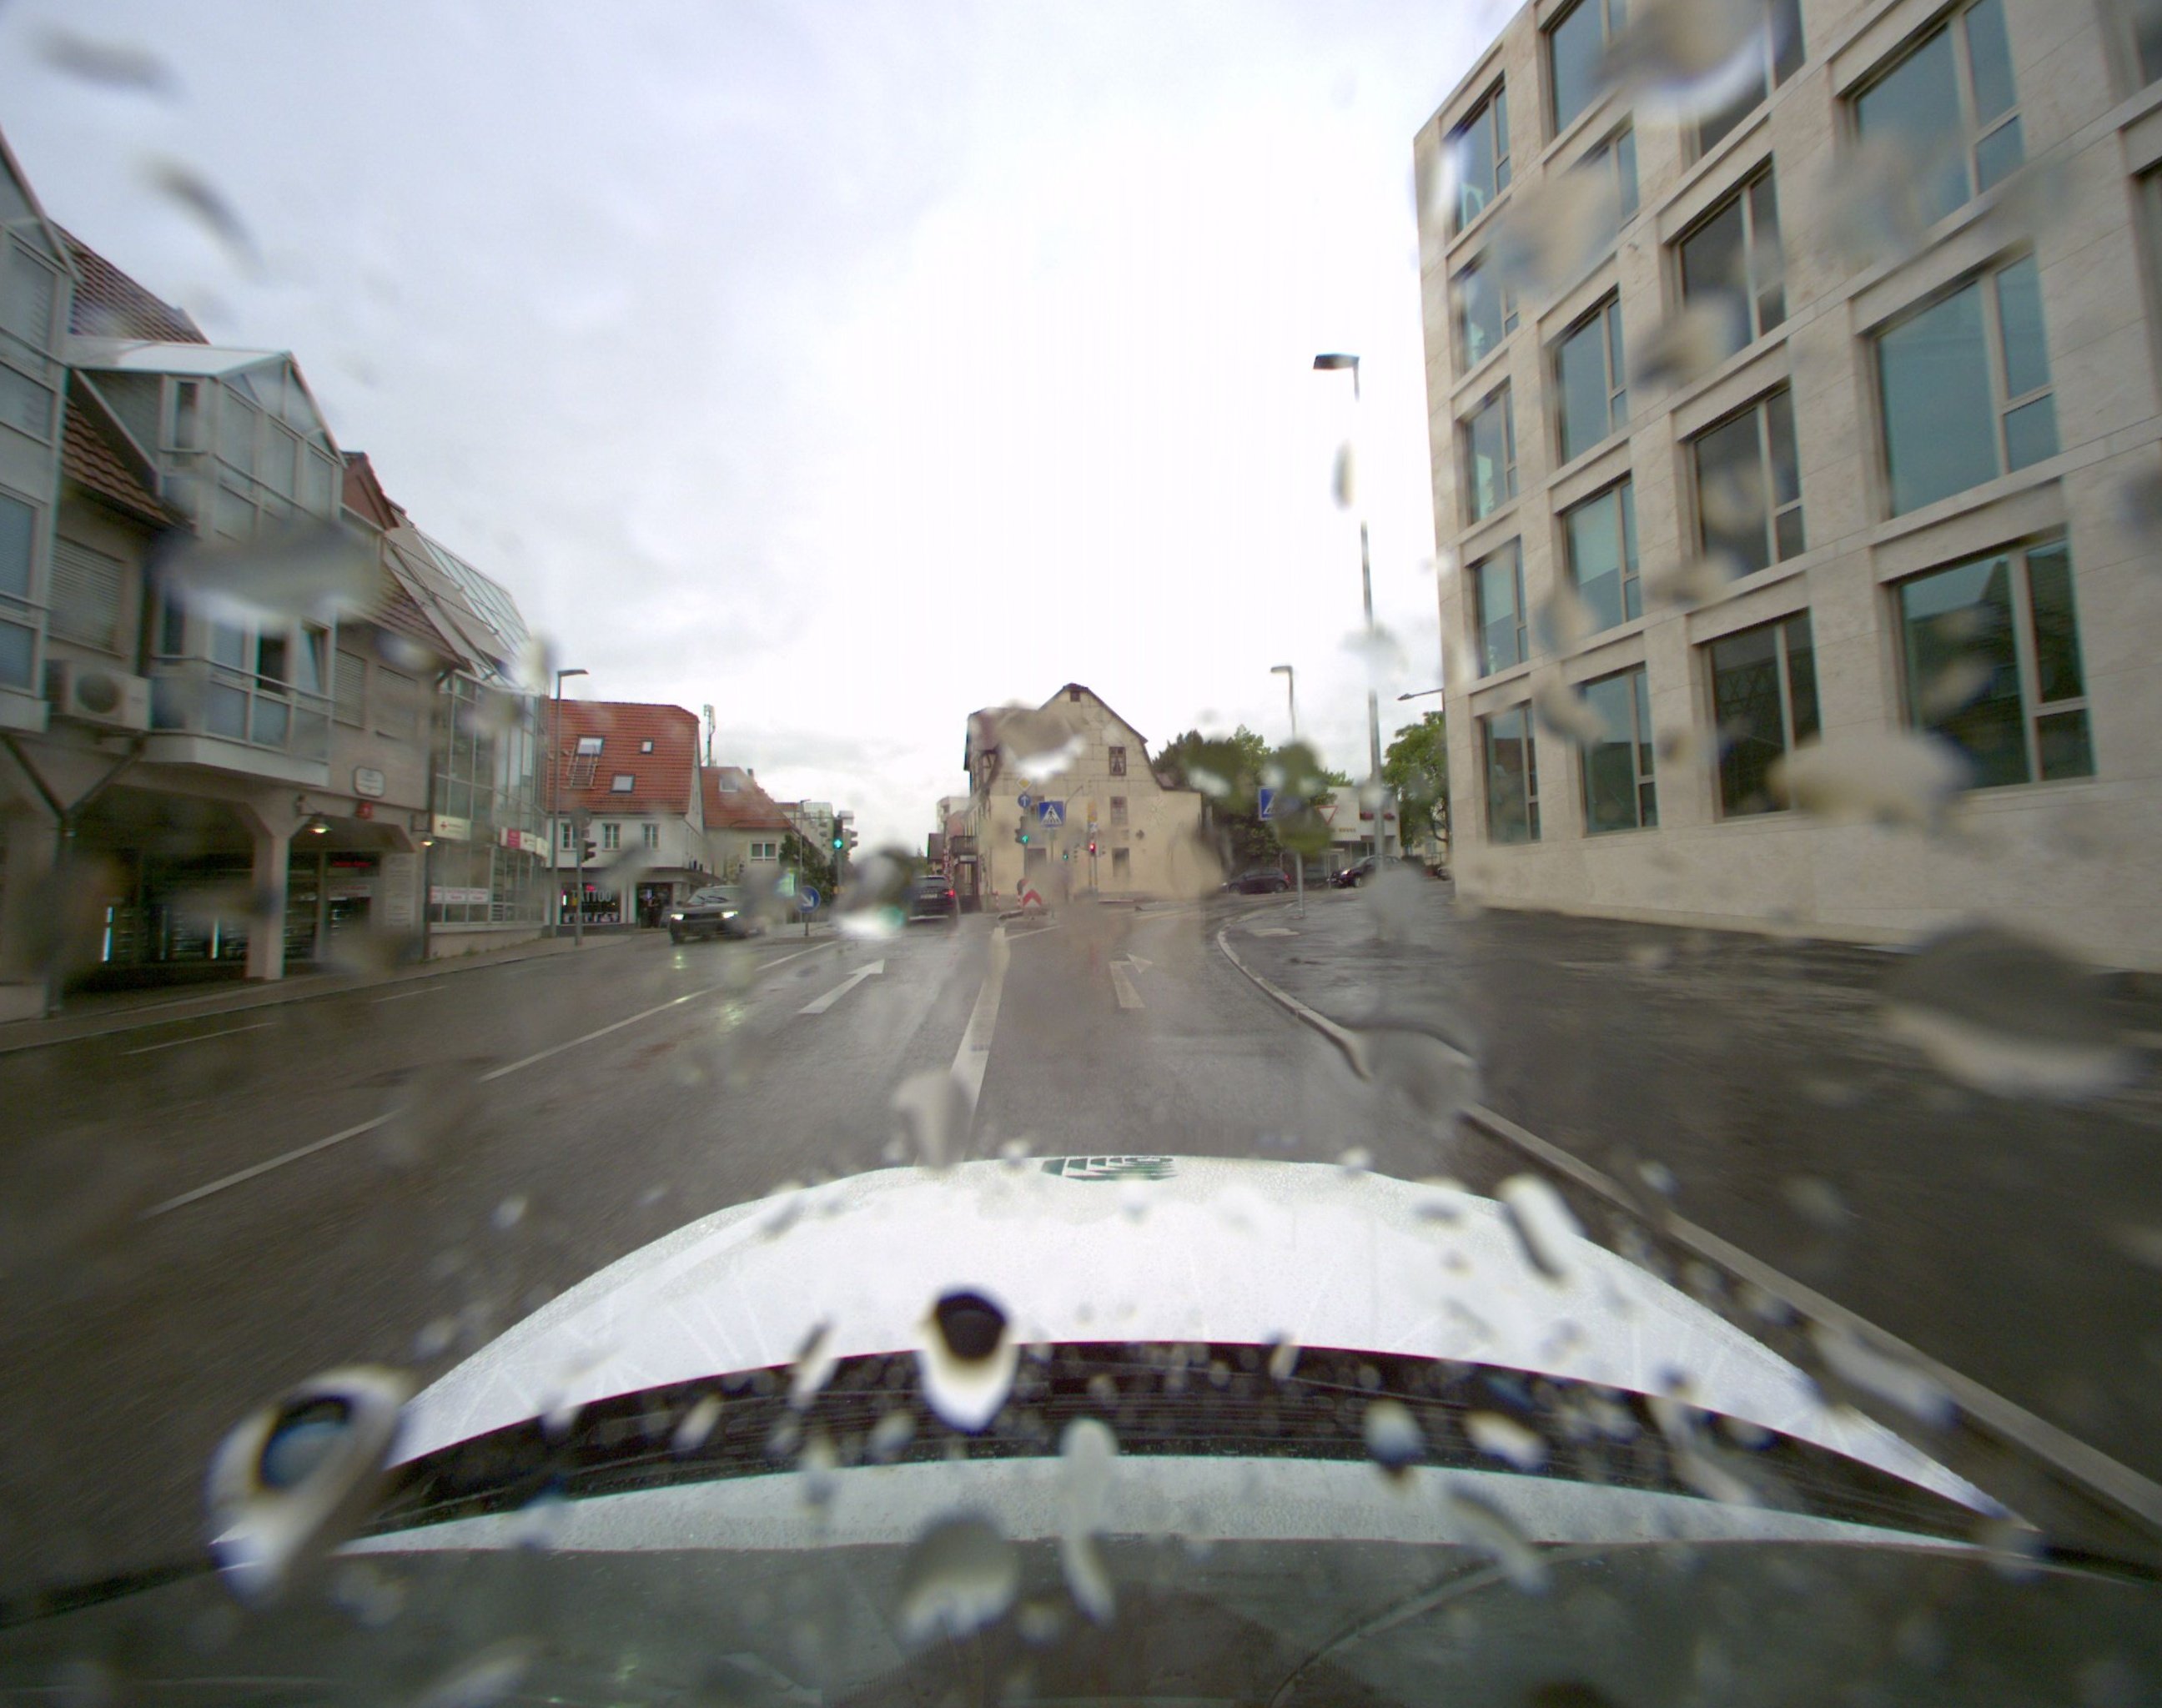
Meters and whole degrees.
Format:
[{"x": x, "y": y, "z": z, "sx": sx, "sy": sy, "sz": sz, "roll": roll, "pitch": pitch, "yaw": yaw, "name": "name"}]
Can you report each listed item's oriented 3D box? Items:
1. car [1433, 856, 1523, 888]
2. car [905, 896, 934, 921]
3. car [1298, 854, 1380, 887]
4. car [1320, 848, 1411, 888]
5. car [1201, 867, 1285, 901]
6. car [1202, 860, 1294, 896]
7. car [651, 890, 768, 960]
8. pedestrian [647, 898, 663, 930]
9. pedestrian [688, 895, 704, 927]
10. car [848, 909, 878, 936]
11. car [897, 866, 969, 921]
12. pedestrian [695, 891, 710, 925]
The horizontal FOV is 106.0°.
[{"x": 22.714, "y": 1.035, "z": 46.628, "sx": 4.535, "sy": 1.452, "sz": 1.768, "roll": -3, "pitch": -5, "yaw": -16, "name": "car"}, {"x": -11.792, "y": 3.955, "z": 59.618, "sx": 1.886, "sy": 1.467, "sz": 3.987, "roll": -3, "pitch": 0, "yaw": -9, "name": "car"}, {"x": 15.063, "y": 0.976, "z": 47.516, "sx": 4.182, "sy": 1.519, "sz": 1.768, "roll": -3, "pitch": -5, "yaw": -16, "name": "car"}, {"x": 15.557, "y": 0.786, "z": 44.563, "sx": 4.311, "sy": 1.816, "sz": 1.768, "roll": -3, "pitch": -5, "yaw": -16, "name": "car"}, {"x": 9.012, "y": 1.684, "z": 45.354, "sx": 4.182, "sy": 1.519, "sz": 1.768, "roll": -3, "pitch": -5, "yaw": -16, "name": "car"}, {"x": 8.758, "y": 1.277, "z": 42.730, "sx": 4.313, "sy": 1.505, "sz": 1.767, "roll": -3, "pitch": -5, "yaw": -18, "name": "car"}, {"x": -9.750, "y": 1.801, "z": 21.690, "sx": 1.888, "sy": 1.467, "sz": 3.984, "roll": -3, "pitch": 0, "yaw": -11, "name": "car"}, {"x": -21.327, "y": 2.982, "z": 40.766, "sx": 0.594, "sy": 1.559, "sz": 0.630, "roll": -3, "pitch": -2, "yaw": -19, "name": "pedestrian"}, {"x": -19.873, "y": 2.938, "z": 42.065, "sx": 0.594, "sy": 1.559, "sz": 0.630, "roll": -3, "pitch": -2, "yaw": -19, "name": "pedestrian"}, {"x": -23.910, "y": 7.485, "z": 89.628, "sx": 2.588, "sy": 2.626, "sz": 6.531, "roll": -3, "pitch": -2, "yaw": -11, "name": "car"}, {"x": -4.844, "y": 1.242, "z": 27.176, "sx": 1.942, "sy": 1.566, "sz": 4.409, "roll": -1, "pitch": 0, "yaw": -5, "name": "car"}, {"x": -20.223, "y": 2.869, "z": 43.533, "sx": 0.594, "sy": 1.774, "sz": 0.630, "roll": -3, "pitch": -2, "yaw": -19, "name": "pedestrian"}]
